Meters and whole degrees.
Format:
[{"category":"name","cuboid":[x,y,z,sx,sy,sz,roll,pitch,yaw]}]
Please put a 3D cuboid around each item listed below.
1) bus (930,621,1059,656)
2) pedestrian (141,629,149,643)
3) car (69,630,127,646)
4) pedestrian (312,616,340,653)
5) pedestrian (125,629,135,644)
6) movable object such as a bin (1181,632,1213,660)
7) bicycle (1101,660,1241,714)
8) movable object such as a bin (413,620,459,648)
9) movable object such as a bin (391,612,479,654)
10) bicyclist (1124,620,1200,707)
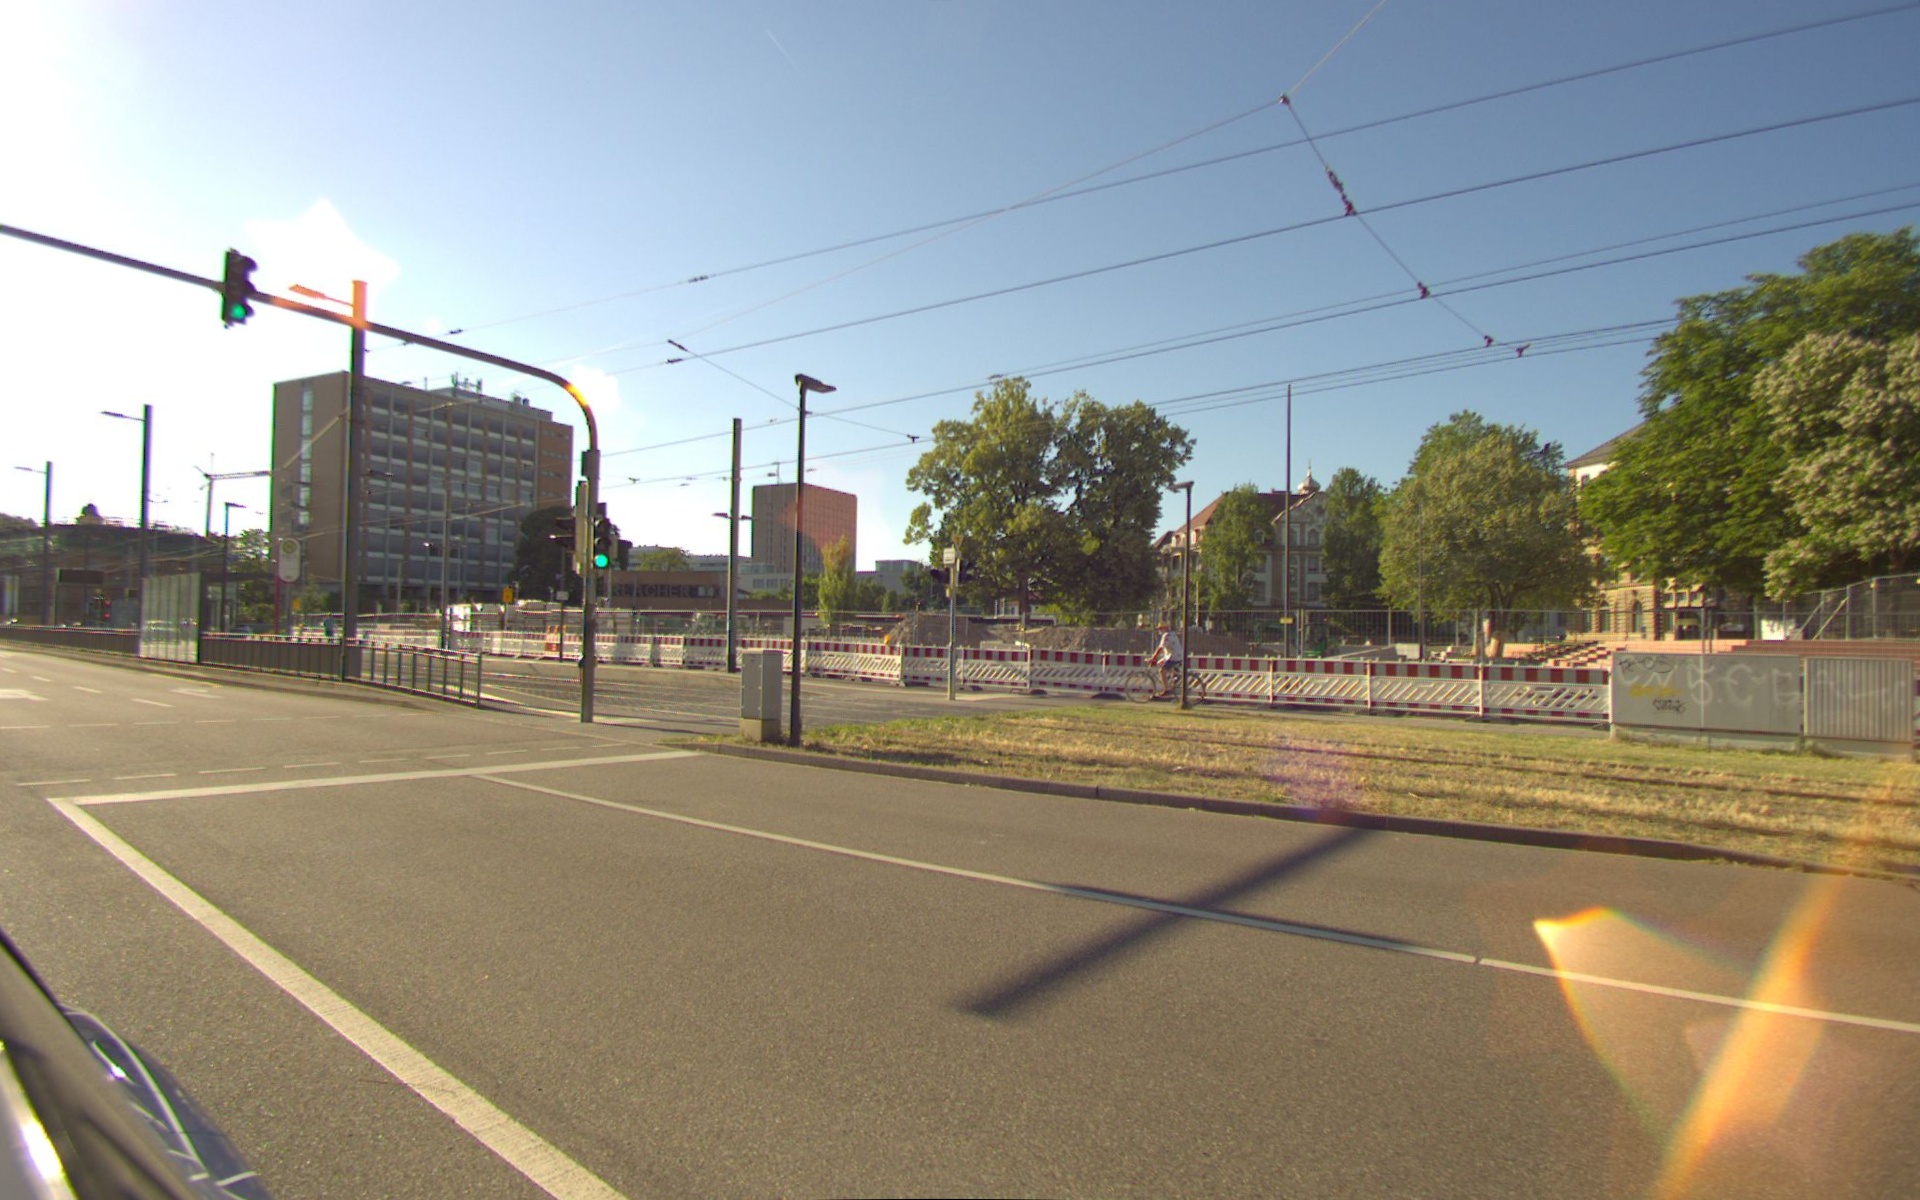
[{"category":"bus","cuboid":[3.347,3.860,101.300,12.464,3.219,3.255,0,-5,-6]},{"category":"pedestrian","cuboid":[-99.611,4.419,123.684,0.721,1.752,0.623,3,-2,-39]},{"category":"car","cuboid":[-95.830,4.249,112.598,4.629,1.697,2.005,3,-6,-35]},{"category":"pedestrian","cuboid":[-31.492,1.711,50.284,1.179,1.782,0.794,-5,-6,40]},{"category":"pedestrian","cuboid":[-100.425,4.387,122.495,0.612,1.752,0.667,2,-2,-8]},{"category":"movable object such as a bin","cuboid":[18.643,3.614,79.612,1.985,2.029,3.973,-2,-5,20]},{"category":"bicycle","cuboid":[4.573,1.895,22.053,2.815,1.105,0.955,-4,-5,33]},{"category":"movable object such as a bin","cuboid":[-33.447,2.191,64.617,3.861,1.599,1.161,-5,-6,39]},{"category":"movable object such as a bin","cuboid":[-35.796,2.292,69.007,5.135,2.545,2.615,-3,-5,22]},{"category":"bicyclist","cuboid":[4.429,1.396,22.167,1.315,1.823,0.955,-4,-5,33]}]
